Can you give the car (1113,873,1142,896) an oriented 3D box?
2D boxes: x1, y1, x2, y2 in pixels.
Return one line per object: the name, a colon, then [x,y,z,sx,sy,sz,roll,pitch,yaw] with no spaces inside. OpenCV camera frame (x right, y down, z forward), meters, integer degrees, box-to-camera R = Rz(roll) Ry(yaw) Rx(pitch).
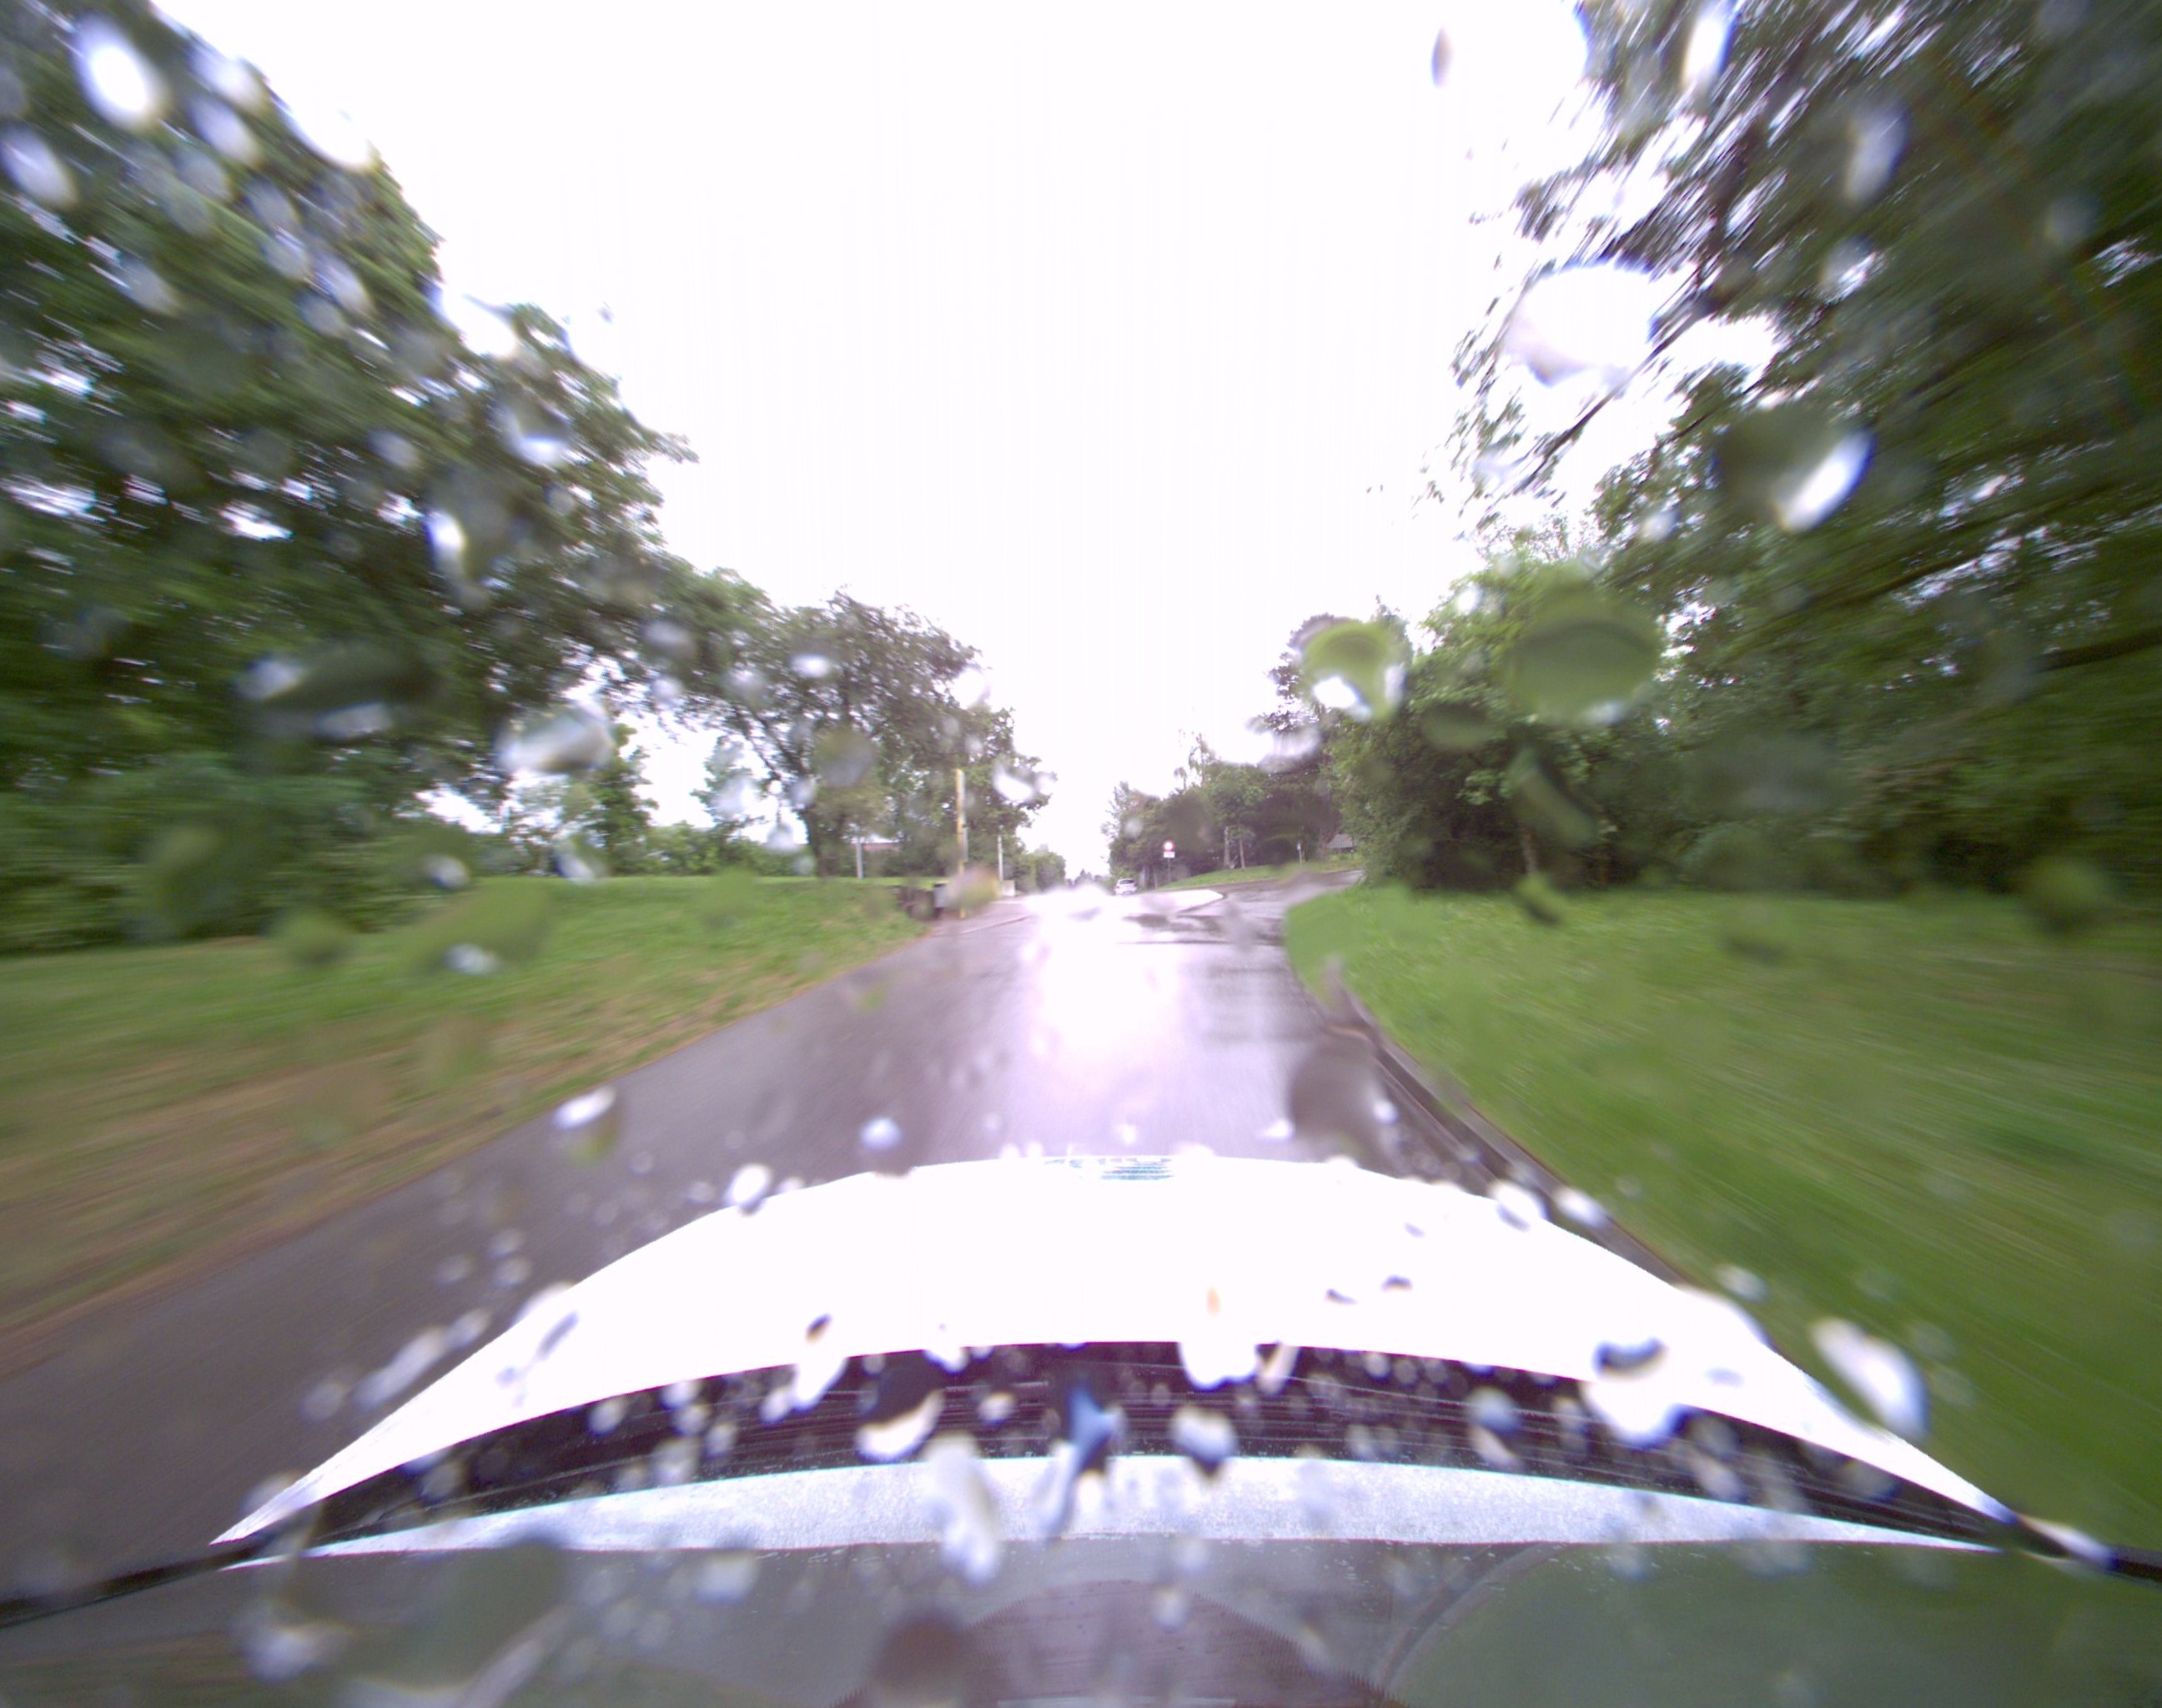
car: [3.589,2.366,62.434,1.983,1.583,4.006,-2,-4,6]
